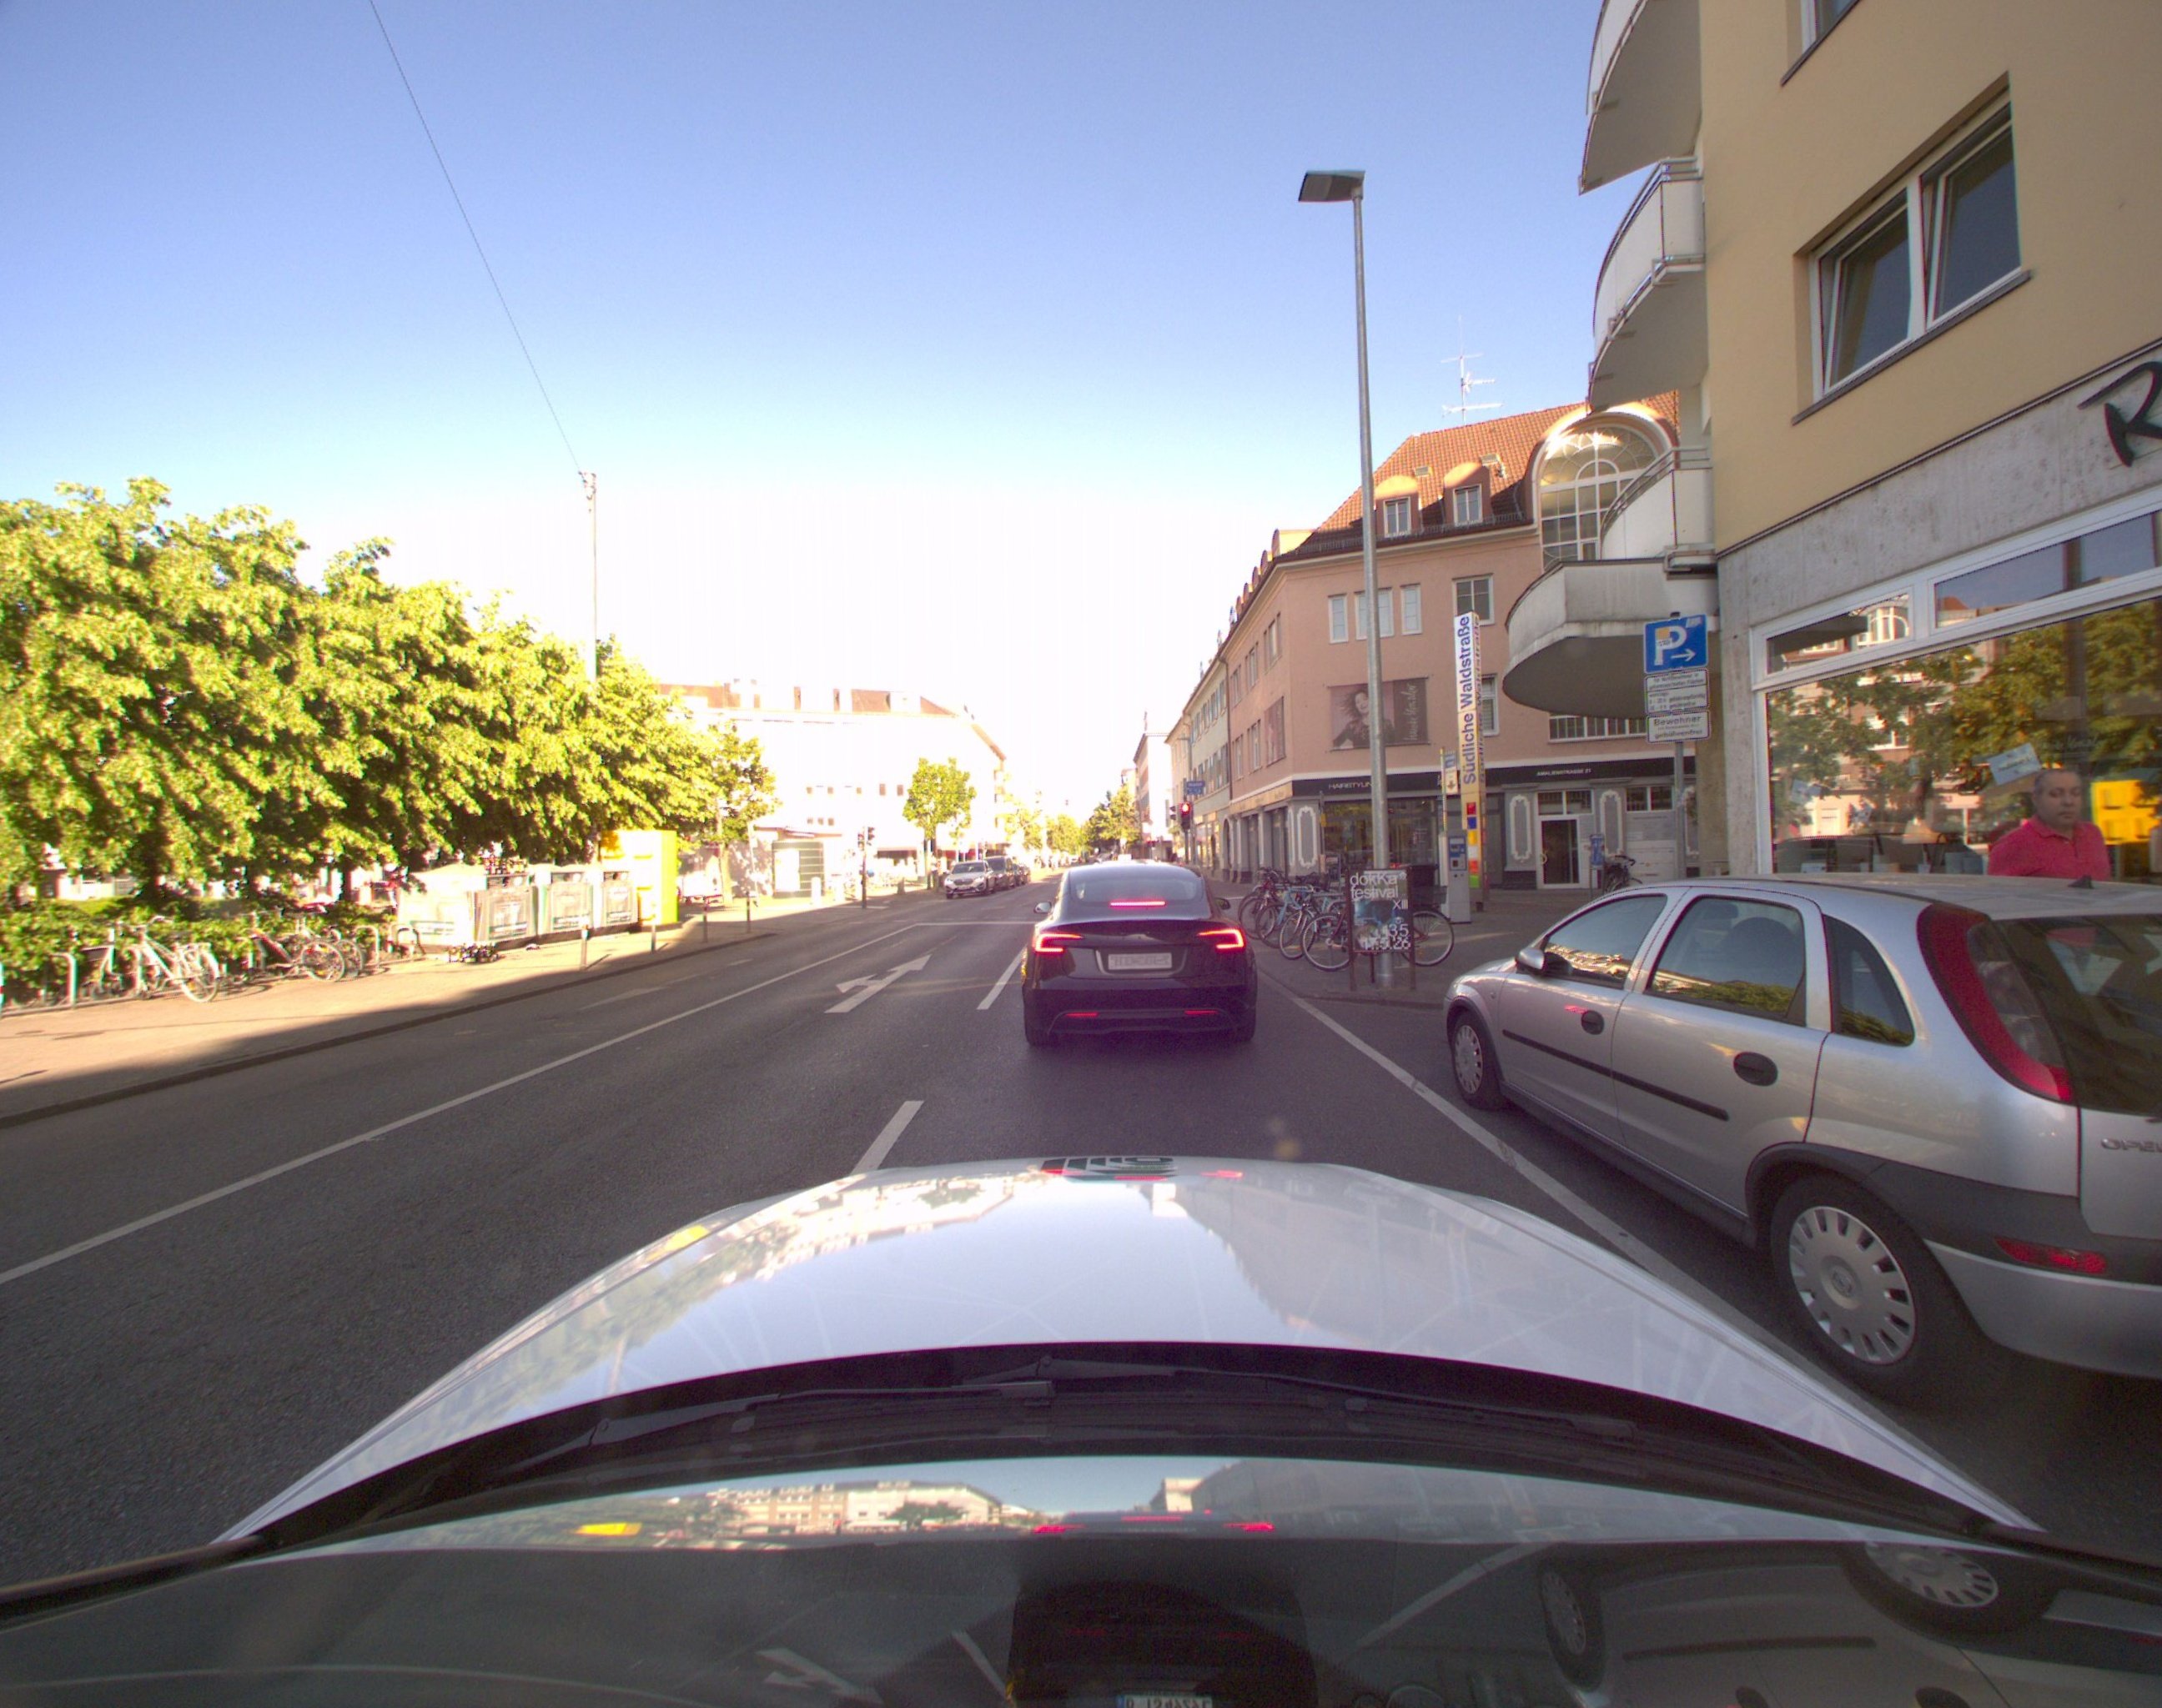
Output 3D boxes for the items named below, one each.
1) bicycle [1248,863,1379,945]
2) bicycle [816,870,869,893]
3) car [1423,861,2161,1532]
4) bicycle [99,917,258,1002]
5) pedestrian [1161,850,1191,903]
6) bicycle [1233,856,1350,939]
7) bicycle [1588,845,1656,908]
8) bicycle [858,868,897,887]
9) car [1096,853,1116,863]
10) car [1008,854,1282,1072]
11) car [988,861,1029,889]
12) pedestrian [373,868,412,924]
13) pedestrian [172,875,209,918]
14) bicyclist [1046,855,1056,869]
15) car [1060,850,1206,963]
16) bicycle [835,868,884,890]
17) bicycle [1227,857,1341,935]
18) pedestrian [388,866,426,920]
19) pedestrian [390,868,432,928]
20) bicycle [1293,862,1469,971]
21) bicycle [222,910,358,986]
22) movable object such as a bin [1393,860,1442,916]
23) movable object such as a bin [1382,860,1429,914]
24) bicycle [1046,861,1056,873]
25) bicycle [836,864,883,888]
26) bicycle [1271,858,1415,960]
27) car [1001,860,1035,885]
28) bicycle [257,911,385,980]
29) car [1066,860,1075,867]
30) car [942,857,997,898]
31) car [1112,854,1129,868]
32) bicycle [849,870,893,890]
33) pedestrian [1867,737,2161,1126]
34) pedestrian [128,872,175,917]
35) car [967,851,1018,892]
[{"bbox_3d":[3.524,0.758,12.502,1.788,1.124,0.783,-3,-1,7],"label":"bicycle"},{"bbox_3d":[-12.582,1.442,43.016,2.497,1.156,0.843,-1,0,0],"label":"bicycle"},{"bbox_3d":[2.972,0.736,3.520,1.607,1.382,3.645,0,0,2],"label":"car"},{"bbox_3d":[-11.453,1.334,10.346,1.590,1.018,0.430,-1,0,3],"label":"bicycle"},{"bbox_3d":[2.826,0.661,24.260,0.746,1.552,0.698,-1,0,-5],"label":"pedestrian"},{"bbox_3d":[3.508,0.715,13.683,1.738,1.267,0.782,-3,-1,4],"label":"bicycle"},{"bbox_3d":[11.066,0.431,16.727,0.653,1.199,2.223,-2,0,21],"label":"bicycle"},{"bbox_3d":[-13.166,1.520,52.686,2.318,1.156,0.841,-1,0,-4],"label":"bicycle"},{"bbox_3d":[5.112,0.847,167.671,3.974,2.013,2.000,-1,0,0],"label":"car"},{"bbox_3d":[0.501,0.762,7.602,1.841,1.455,4.001,-2,0,2],"label":"car"},{"bbox_3d":[-4.363,1.236,49.676,1.988,1.410,4.672,-5,0,-1],"label":"car"},{"bbox_3d":[-25.646,1.531,30.348,0.980,2.013,0.910,-2,-1,38],"label":"pedestrian"},{"bbox_3d":[-43.194,2.043,39.492,1.206,2.013,0.910,-1,0,27],"label":"pedestrian"},{"bbox_3d":[-3.508,0.928,95.881,1.123,1.628,0.965,-1,0,-1],"label":"bicyclist"},{"bbox_3d":[0.742,0.728,13.310,1.987,1.512,4.175,-1,0,0],"label":"car"},{"bbox_3d":[-12.376,1.370,45.545,2.453,1.156,0.843,-1,0,0],"label":"bicycle"},{"bbox_3d":[3.624,0.744,14.711,1.851,1.258,0.834,-3,-1,7],"label":"bicycle"},{"bbox_3d":[-26.022,1.497,31.435,0.980,2.013,0.910,-2,-1,38],"label":"pedestrian"},{"bbox_3d":[-23.253,1.497,28.277,0.980,2.013,0.910,-2,-1,38],"label":"pedestrian"},{"bbox_3d":[3.640,0.756,10.014,1.876,1.193,0.693,-3,0,7],"label":"bicycle"},{"bbox_3d":[-11.317,1.338,11.665,1.561,1.023,0.430,-1,0,3],"label":"bicycle"},{"bbox_3d":[6.745,0.676,16.340,0.749,1.092,0.628,0,-1,3],"label":"movable object such as a bin"},{"bbox_3d":[6.754,0.681,16.978,0.730,1.092,0.628,0,-1,3],"label":"movable object such as a bin"},{"bbox_3d":[-3.482,1.544,95.784,1.108,1.344,3.998,-1,0,-1],"label":"bicycle"},{"bbox_3d":[-12.907,1.249,47.492,2.472,1.324,0.921,-1,0,-4],"label":"bicycle"},{"bbox_3d":[3.544,0.730,11.150,1.713,1.268,0.792,-3,-1,7],"label":"bicycle"},{"bbox_3d":[-4.394,1.260,57.274,1.988,1.436,4.672,-5,0,-1],"label":"car"},{"bbox_3d":[-11.369,1.359,12.195,1.517,0.958,0.431,-1,1,3],"label":"bicycle"},{"bbox_3d":[-2.495,2.159,187.366,1.988,1.637,3.998,-1,0,-1],"label":"car"},{"bbox_3d":[-4.944,0.996,36.647,1.802,1.555,4.308,-5,0,-1],"label":"car"},{"bbox_3d":[4.839,0.895,100.827,1.986,1.629,4.002,-2,0,2],"label":"car"},{"bbox_3d":[-12.950,1.575,50.251,2.528,1.156,0.841,-1,0,-4],"label":"bicycle"},{"bbox_3d":[5.035,0.356,4.243,0.859,1.784,1.011,-3,-1,10],"label":"pedestrian"},{"bbox_3d":[-43.414,1.877,38.045,1.272,2.013,0.908,-1,0,13],"label":"pedestrian"},{"bbox_3d":[-4.601,0.866,42.856,1.827,1.845,4.677,-5,0,2],"label":"car"}]
